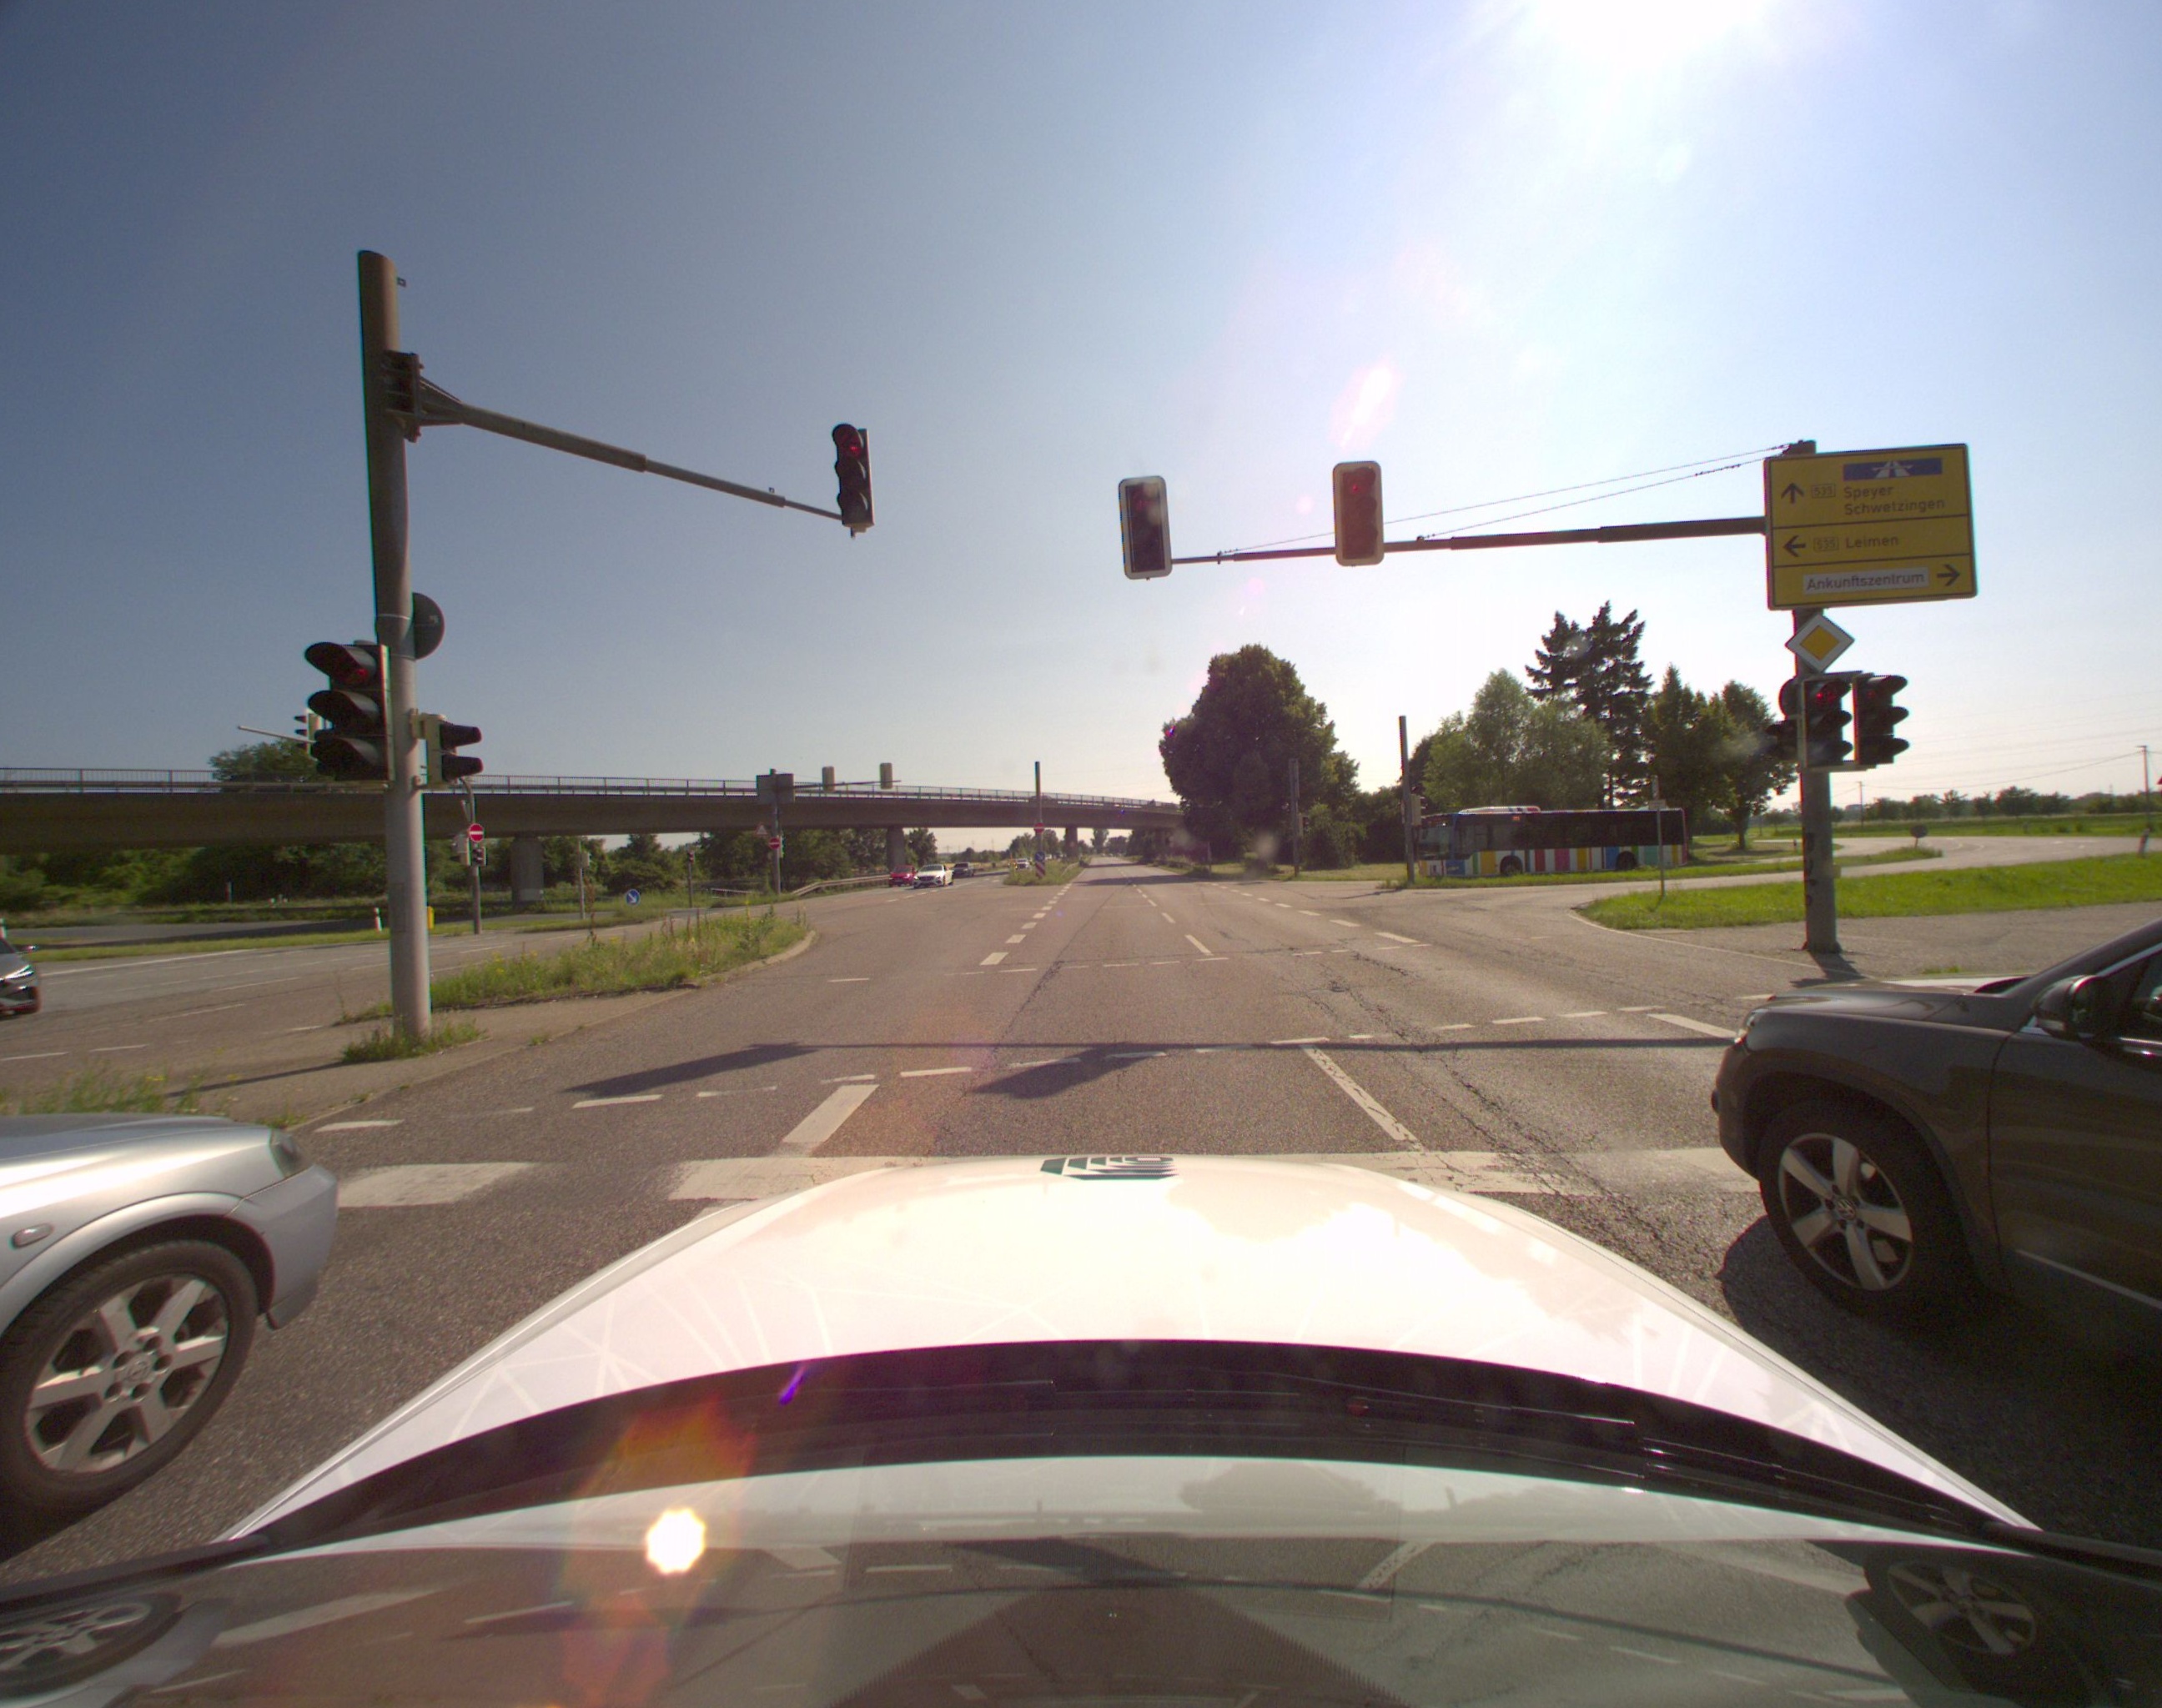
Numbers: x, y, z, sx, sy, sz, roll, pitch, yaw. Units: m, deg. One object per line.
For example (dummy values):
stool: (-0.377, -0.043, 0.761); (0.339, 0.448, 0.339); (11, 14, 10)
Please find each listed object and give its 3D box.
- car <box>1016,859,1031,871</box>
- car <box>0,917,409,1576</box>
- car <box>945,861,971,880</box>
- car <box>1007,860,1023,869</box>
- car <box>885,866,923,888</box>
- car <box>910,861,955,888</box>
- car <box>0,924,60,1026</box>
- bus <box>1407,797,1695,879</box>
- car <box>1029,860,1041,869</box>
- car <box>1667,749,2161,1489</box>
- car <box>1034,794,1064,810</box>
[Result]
car: (-7.775, 1.477, 110.270); (1.551, 1.540, 4.001); (-3, 0, 2)
car: (-3.219, 0.922, 0.729); (1.667, 1.335, 4.100); (-3, 0, 2)
car: (-11.864, 1.581, 79.001); (1.784, 1.628, 4.000); (-3, 0, 1)
car: (-12.084, 1.911, 149.837); (1.983, 1.558, 4.008); (-3, 0, 7)
car: (-12.650, 1.611, 58.407); (1.634, 1.385, 4.241); (-3, 0, 1)
car: (-9.223, 1.275, 50.991); (1.850, 1.448, 4.241); (-5, 0, 1)
car: (-17.656, 1.894, 12.630); (4.073, 1.424, 1.883); (-3, 0, 34)
bus: (20.222, -0.711, 35.024); (11.954, 2.877, 2.928); (-3, 0, -14)
car: (-7.266, 1.653, 128.193); (1.551, 1.259, 4.001); (-3, 0, 2)
car: (3.274, 0.583, 1.299); (1.749, 1.655, 4.147); (-1, 0, 1)
car: (-3.381, -5.489, 86.352); (1.521, 1.477, 3.413); (-4, -1, 32)
